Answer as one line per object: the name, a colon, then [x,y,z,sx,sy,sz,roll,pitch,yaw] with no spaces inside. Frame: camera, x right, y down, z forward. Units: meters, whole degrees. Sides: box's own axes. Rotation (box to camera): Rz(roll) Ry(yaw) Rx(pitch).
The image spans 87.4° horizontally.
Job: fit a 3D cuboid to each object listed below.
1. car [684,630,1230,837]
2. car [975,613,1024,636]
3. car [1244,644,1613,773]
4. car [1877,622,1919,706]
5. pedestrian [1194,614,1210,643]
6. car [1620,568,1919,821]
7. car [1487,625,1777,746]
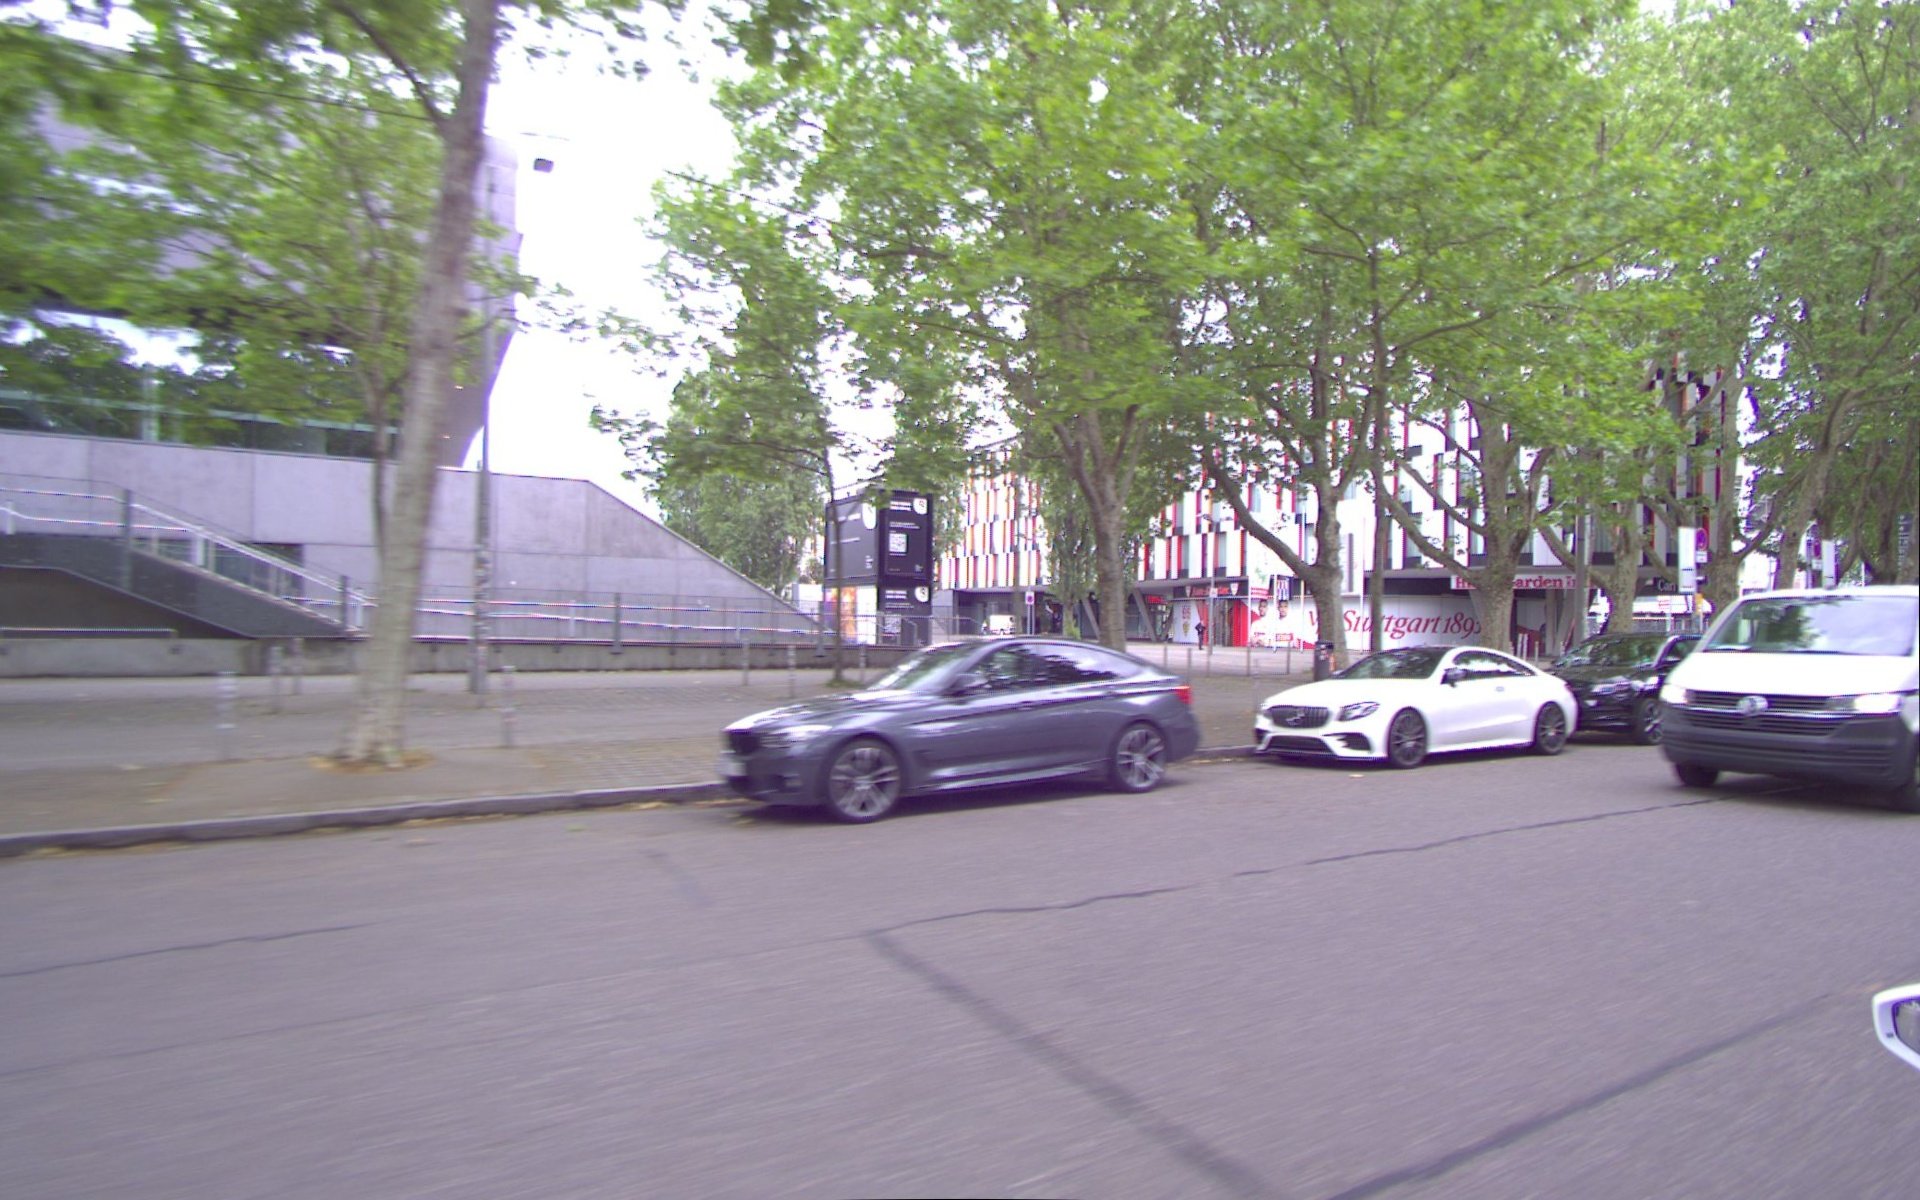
car: [0.129,1.056,9.410,4.939,1.504,1.809,2,-3,-33]
car: [3.770,2.328,96.902,2.284,2.040,5.143,-4,2,-29]
car: [6.085,1.260,12.864,4.947,1.380,1.807,1,-3,-31]
car: [22.983,1.450,22.800,4.558,1.818,1.887,2,-4,-30]
pedestrian: [14.224,1.684,59.045,0.684,1.712,0.640,1,-1,-27]
car: [9.202,0.808,10.121,5.400,1.987,2.050,1,-2,-30]
car: [10.229,1.246,15.262,4.290,1.614,1.811,1,-4,-28]
